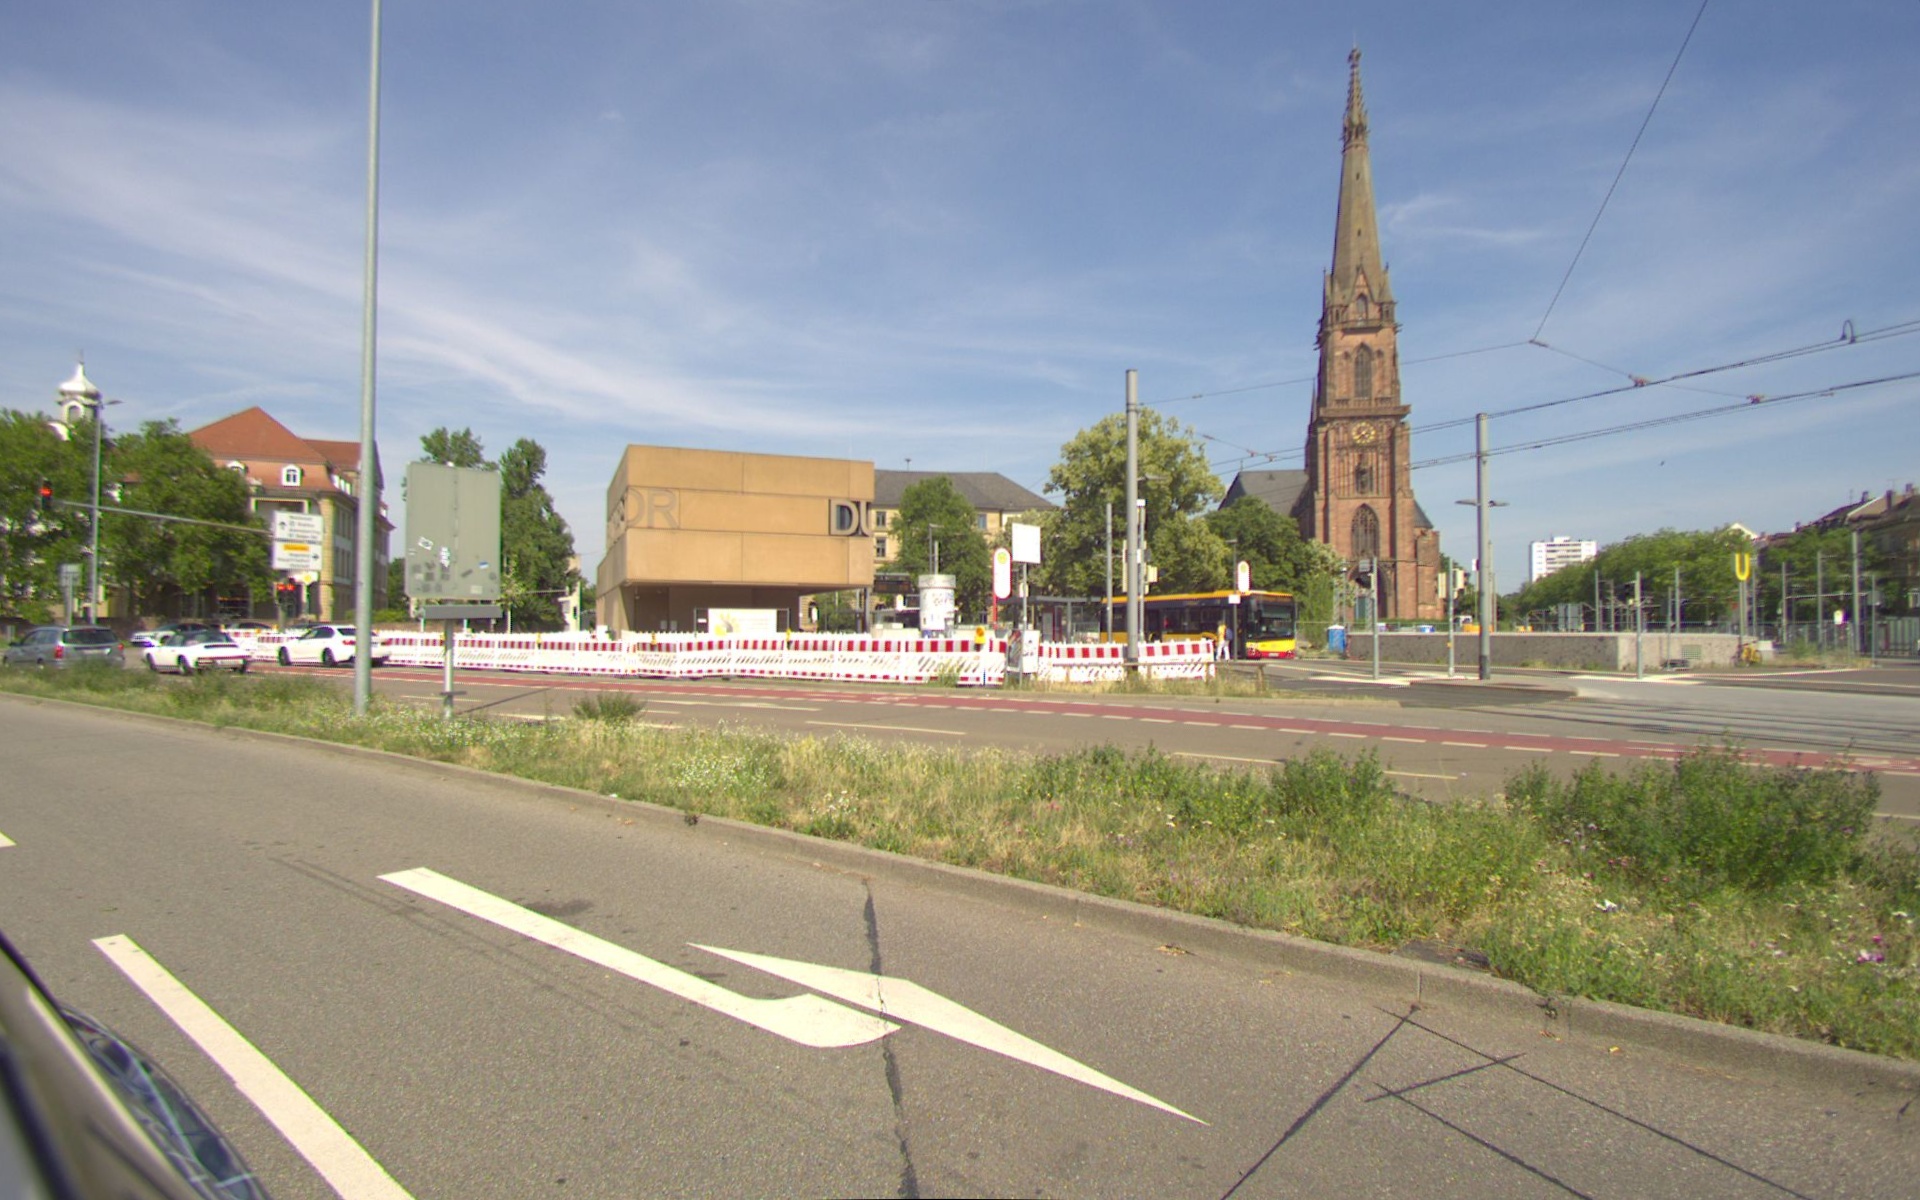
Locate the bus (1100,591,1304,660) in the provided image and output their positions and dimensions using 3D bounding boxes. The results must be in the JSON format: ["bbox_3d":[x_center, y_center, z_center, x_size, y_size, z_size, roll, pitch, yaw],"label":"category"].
[{"bbox_3d":[10.490,1.021,45.990,2.711,2.703,11.828,-1,0,-22],"label":"bus"}]

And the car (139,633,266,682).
[{"bbox_3d":[-22.431,1.664,29.927,3.984,1.296,1.583,-1,0,30],"label":"car"}]

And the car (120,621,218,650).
[{"bbox_3d":[-44.323,1.960,56.807,1.743,1.454,4.092,-1,0,16],"label":"car"}]

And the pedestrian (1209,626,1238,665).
[{"bbox_3d":[9.737,1.673,37.422,0.911,1.377,0.532,-1,0,41],"label":"pedestrian"}]

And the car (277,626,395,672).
[{"bbox_3d":[-21.400,1.642,34.667,3.984,1.431,1.785,-1,0,30],"label":"car"}]

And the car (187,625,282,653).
[{"bbox_3d":[-39.602,2.110,55.376,1.815,1.447,4.082,0,-2,12],"label":"car"}]

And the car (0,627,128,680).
[{"bbox_3d":[-24.700,1.425,27.802,3.984,1.296,1.583,-1,0,30],"label":"car"}]

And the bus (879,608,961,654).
[{"bbox_3d":[-3.345,2.449,79.576,2.710,3.348,11.827,1,-2,-22],"label":"bus"}]
